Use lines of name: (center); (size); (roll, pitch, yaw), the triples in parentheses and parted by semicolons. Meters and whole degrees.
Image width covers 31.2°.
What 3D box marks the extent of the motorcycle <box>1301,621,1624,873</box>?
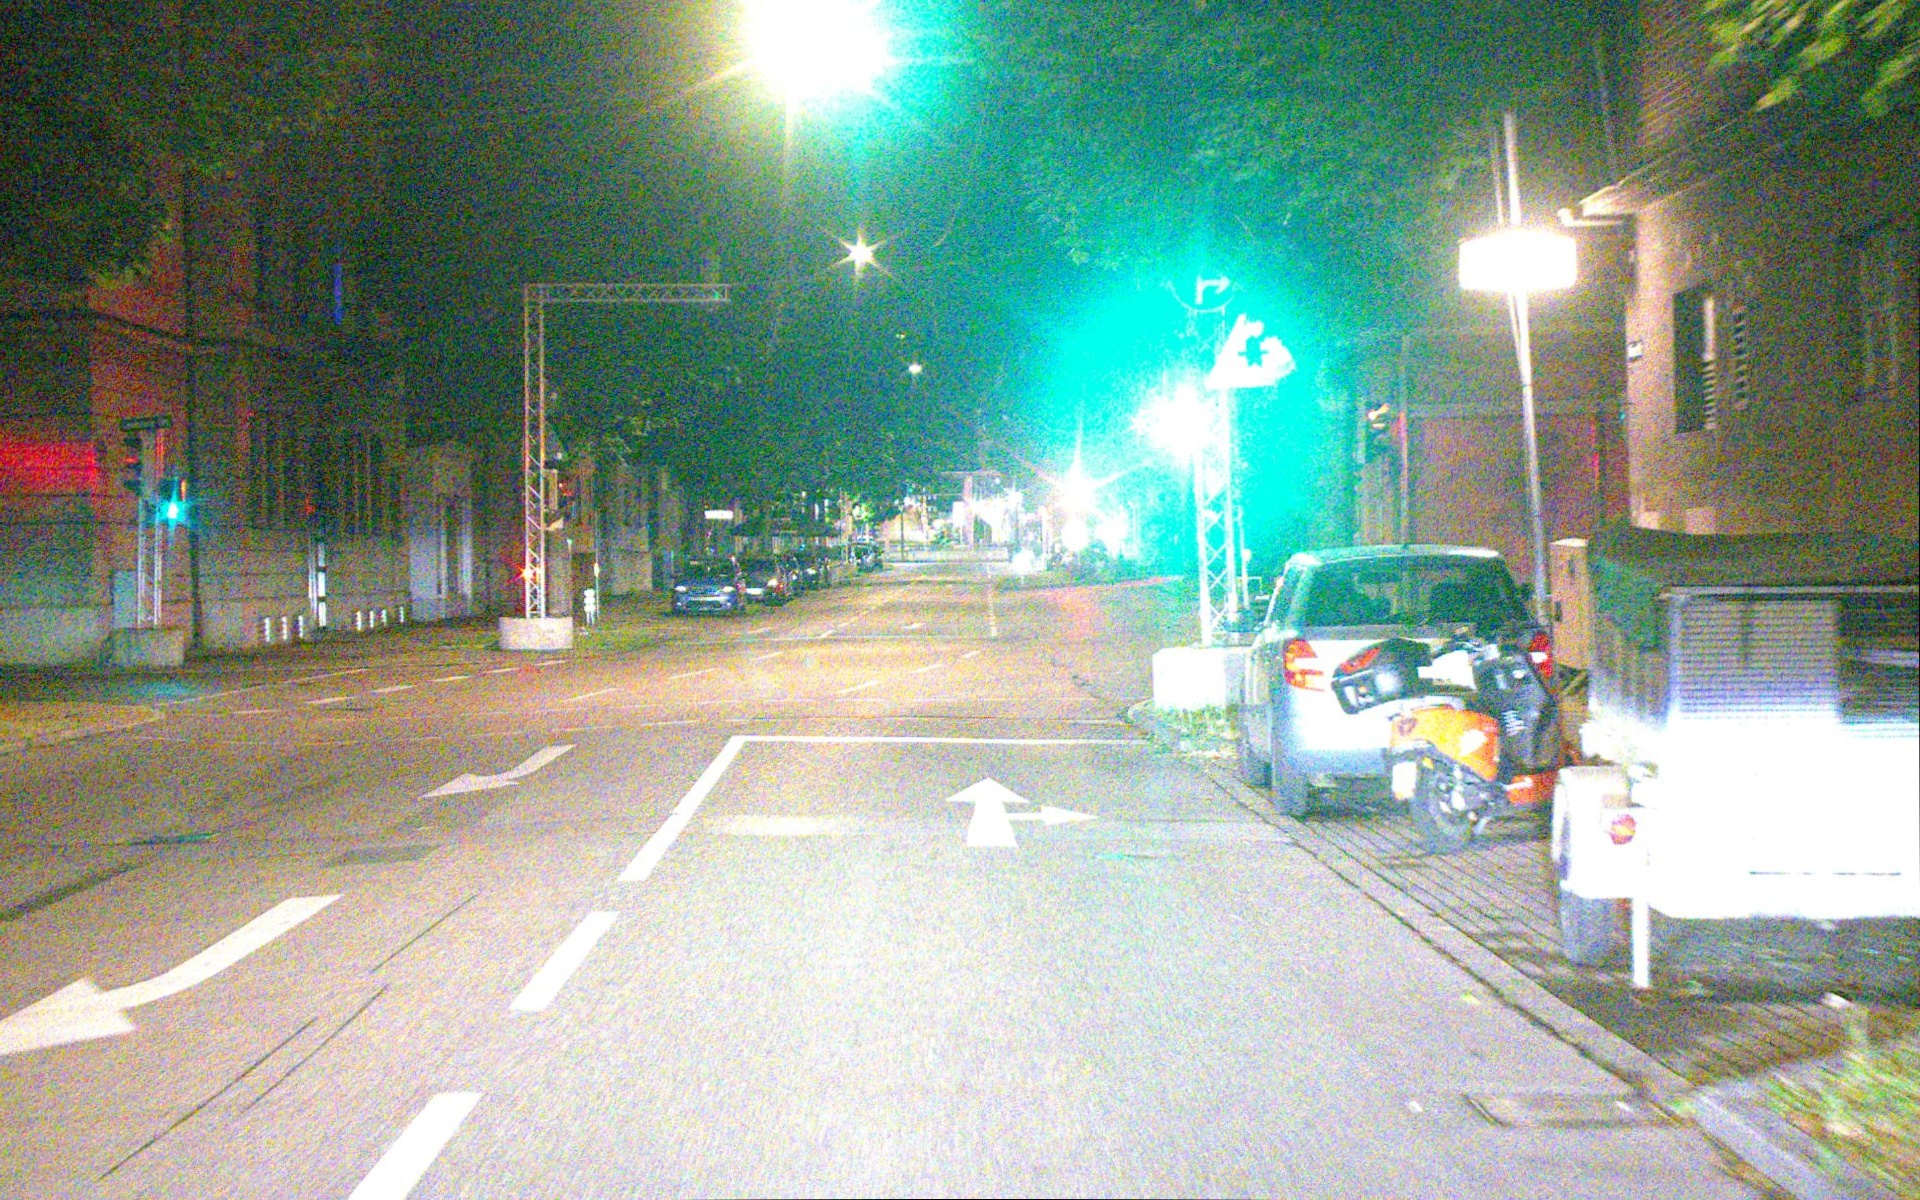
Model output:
motorcycle: (2.547, 0.696, 17.191); (0.728, 1.127, 2.223); (0, 1, 33)

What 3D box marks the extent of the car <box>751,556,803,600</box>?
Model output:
car: (-6.052, -0.740, 113.965); (1.622, 1.378, 4.452); (-2, 1, -2)

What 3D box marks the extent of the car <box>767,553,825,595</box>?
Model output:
car: (-6.044, -0.982, 127.126); (1.899, 1.466, 4.452); (0, 1, 1)

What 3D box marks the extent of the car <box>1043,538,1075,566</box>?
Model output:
car: (5.347, -2.604, 185.150); (1.651, 1.426, 4.000); (-2, 1, 2)

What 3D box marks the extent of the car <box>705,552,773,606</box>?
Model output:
car: (-6.426, -0.632, 100.407); (1.768, 1.480, 4.768); (-2, 1, -1)

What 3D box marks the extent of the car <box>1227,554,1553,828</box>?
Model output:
car: (2.477, 0.469, 20.512); (1.587, 1.456, 3.797); (0, 1, 2)

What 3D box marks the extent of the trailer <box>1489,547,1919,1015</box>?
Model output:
trailer: (2.954, 0.552, 12.846); (1.601, 1.490, 3.733); (0, 1, 4)

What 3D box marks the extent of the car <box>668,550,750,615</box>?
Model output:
car: (-6.132, -0.417, 84.319); (1.714, 1.489, 3.989); (0, -1, 0)
